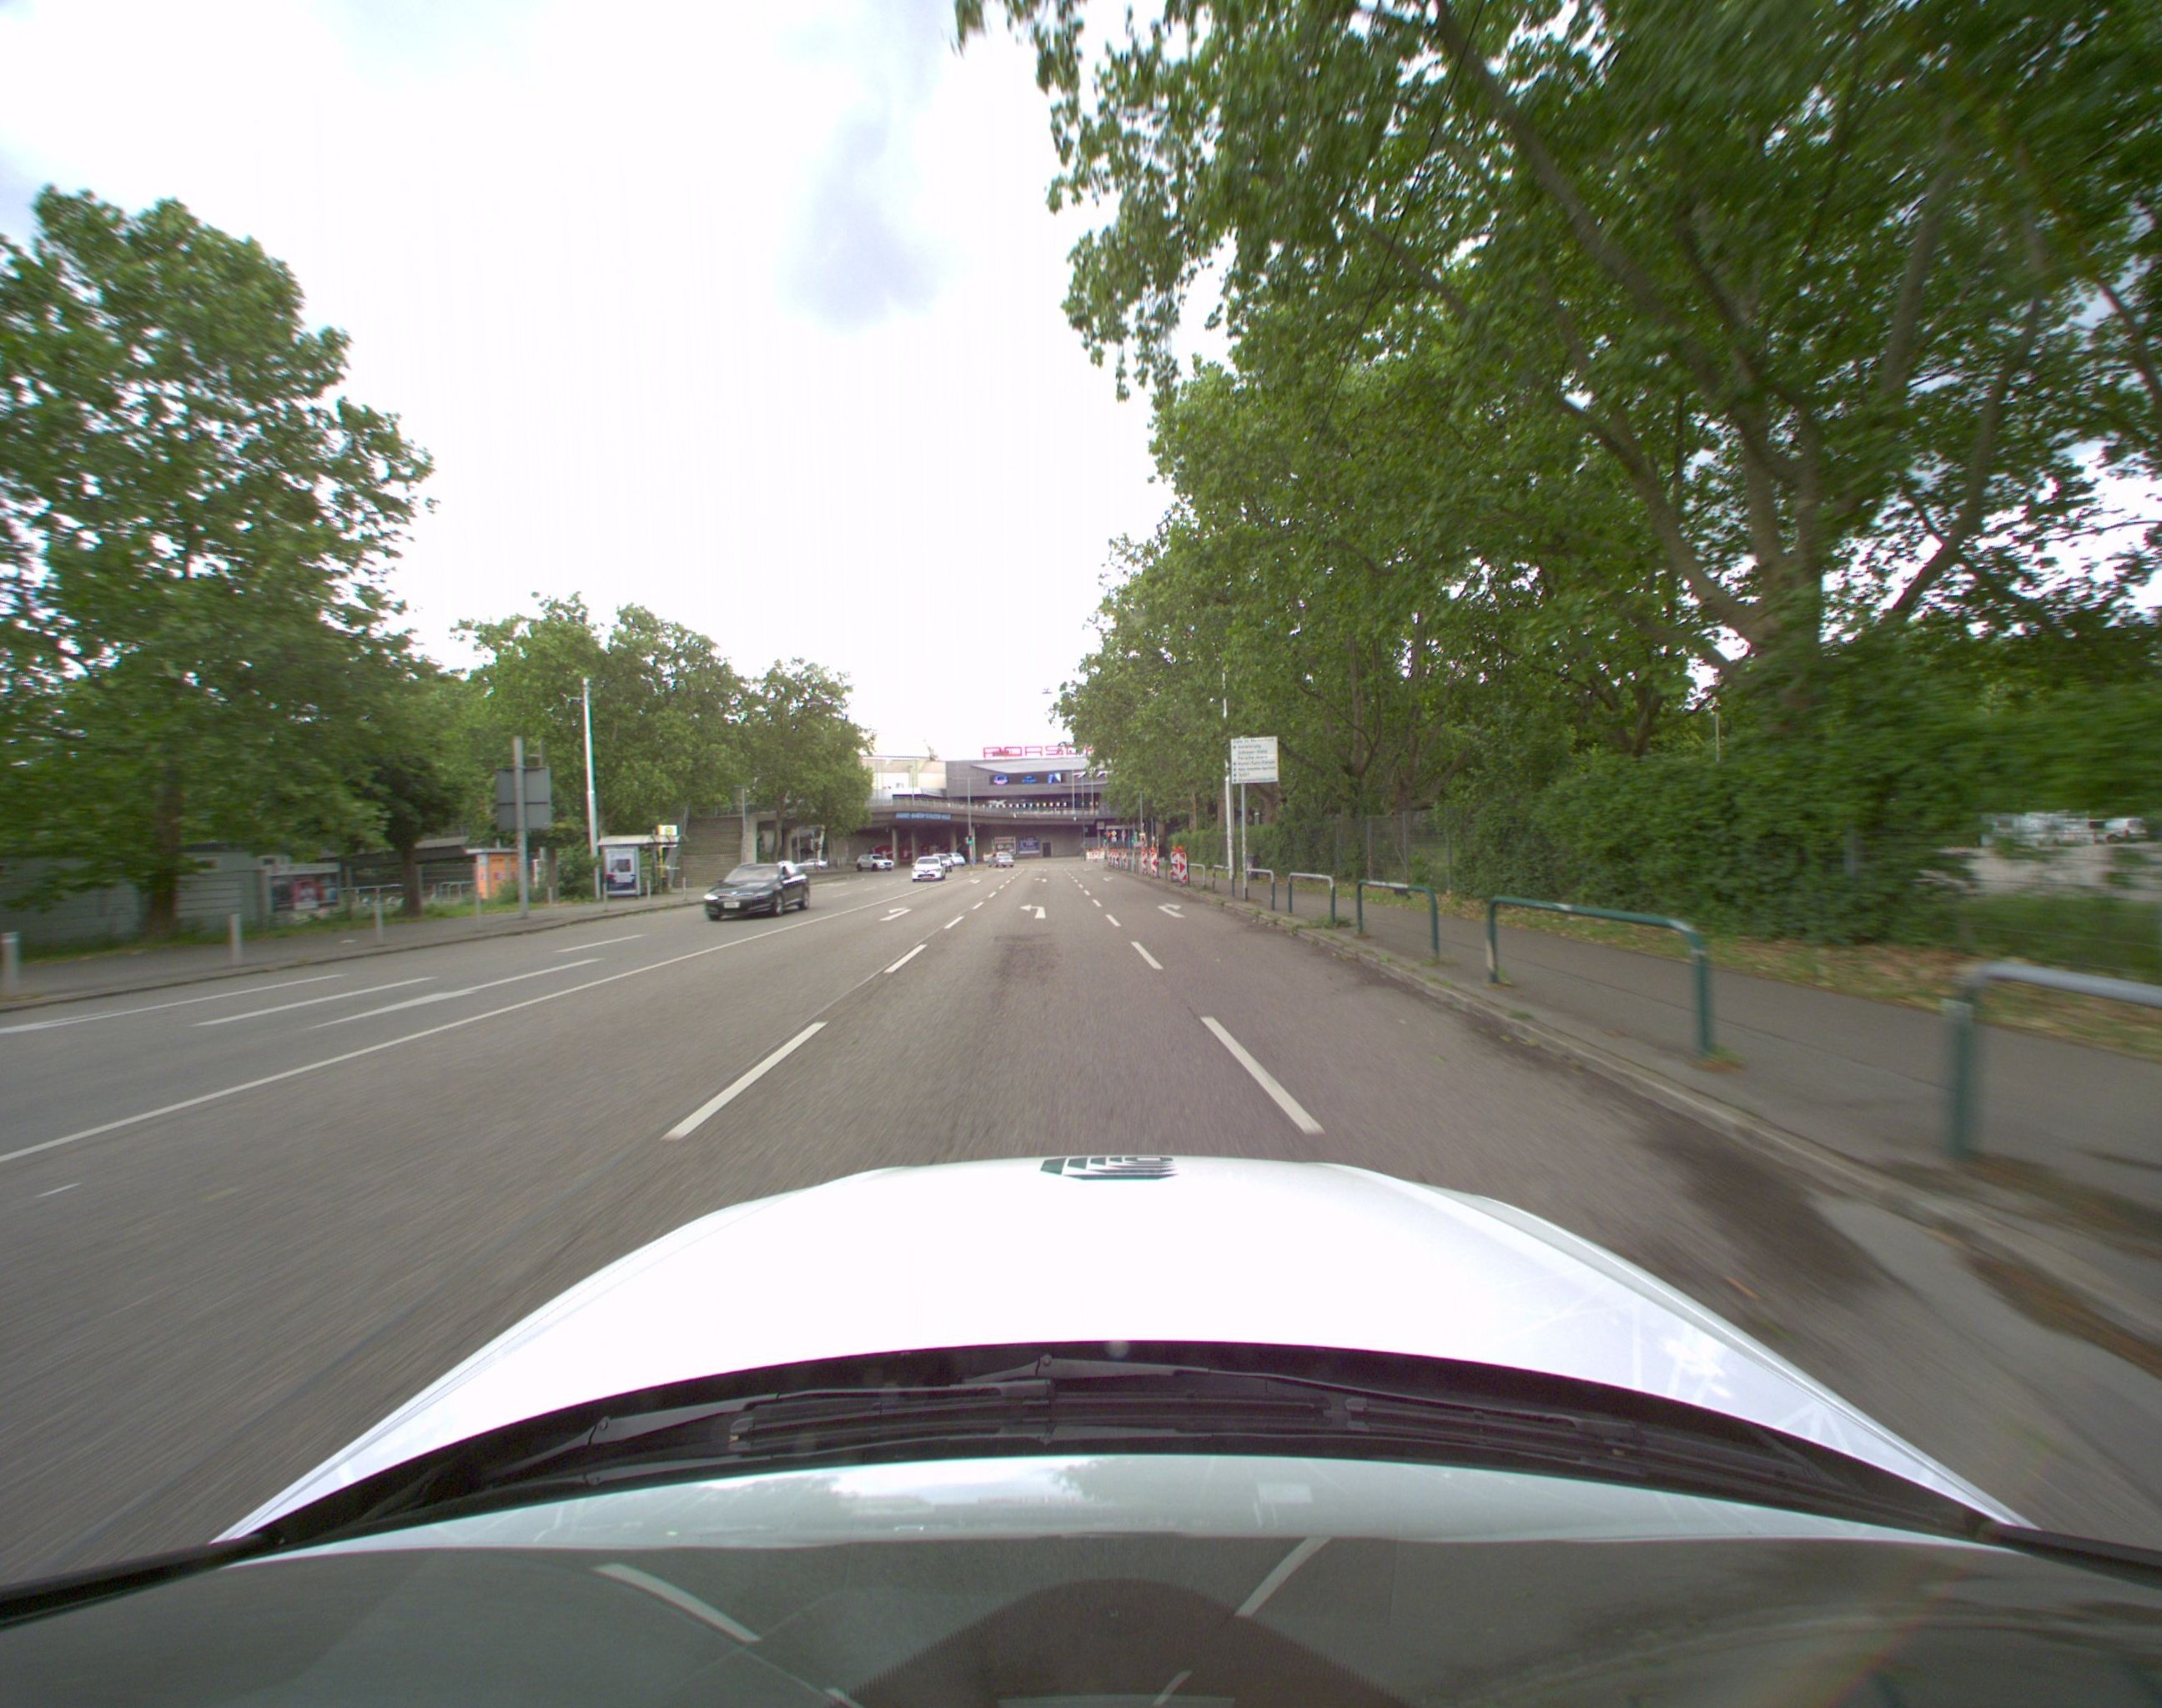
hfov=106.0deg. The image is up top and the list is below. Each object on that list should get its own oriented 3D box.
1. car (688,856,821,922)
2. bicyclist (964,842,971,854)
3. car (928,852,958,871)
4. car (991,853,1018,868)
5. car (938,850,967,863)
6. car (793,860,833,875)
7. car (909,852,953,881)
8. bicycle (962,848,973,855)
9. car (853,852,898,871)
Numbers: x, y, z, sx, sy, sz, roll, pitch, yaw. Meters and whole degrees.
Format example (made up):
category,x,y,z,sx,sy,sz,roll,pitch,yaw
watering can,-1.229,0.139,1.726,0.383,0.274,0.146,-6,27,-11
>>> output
category,x,y,z,sx,sy,sz,roll,pitch,yaw
car,-8.962,0.890,22.850,1.989,1.530,4.720,-3,0,-4
bicyclist,-15.820,-0.799,113.390,0.850,1.697,0.765,0,0,-6
car,-11.695,0.609,69.160,1.989,1.525,3.995,-2,0,-3
car,-7.658,0.624,81.058,1.998,1.418,3.978,-1,0,-16
car,-14.423,0.298,91.068,1.624,1.313,3.355,-1,0,-41
car,-31.689,1.601,96.438,3.977,1.660,1.998,-1,0,-3
car,-8.935,0.706,48.913,1.989,1.530,4.379,-3,0,-4
bicycle,-15.813,-0.323,113.381,1.531,1.013,0.516,0,0,-6
car,-20.374,0.740,80.652,4.536,1.744,2.013,-2,-1,39
